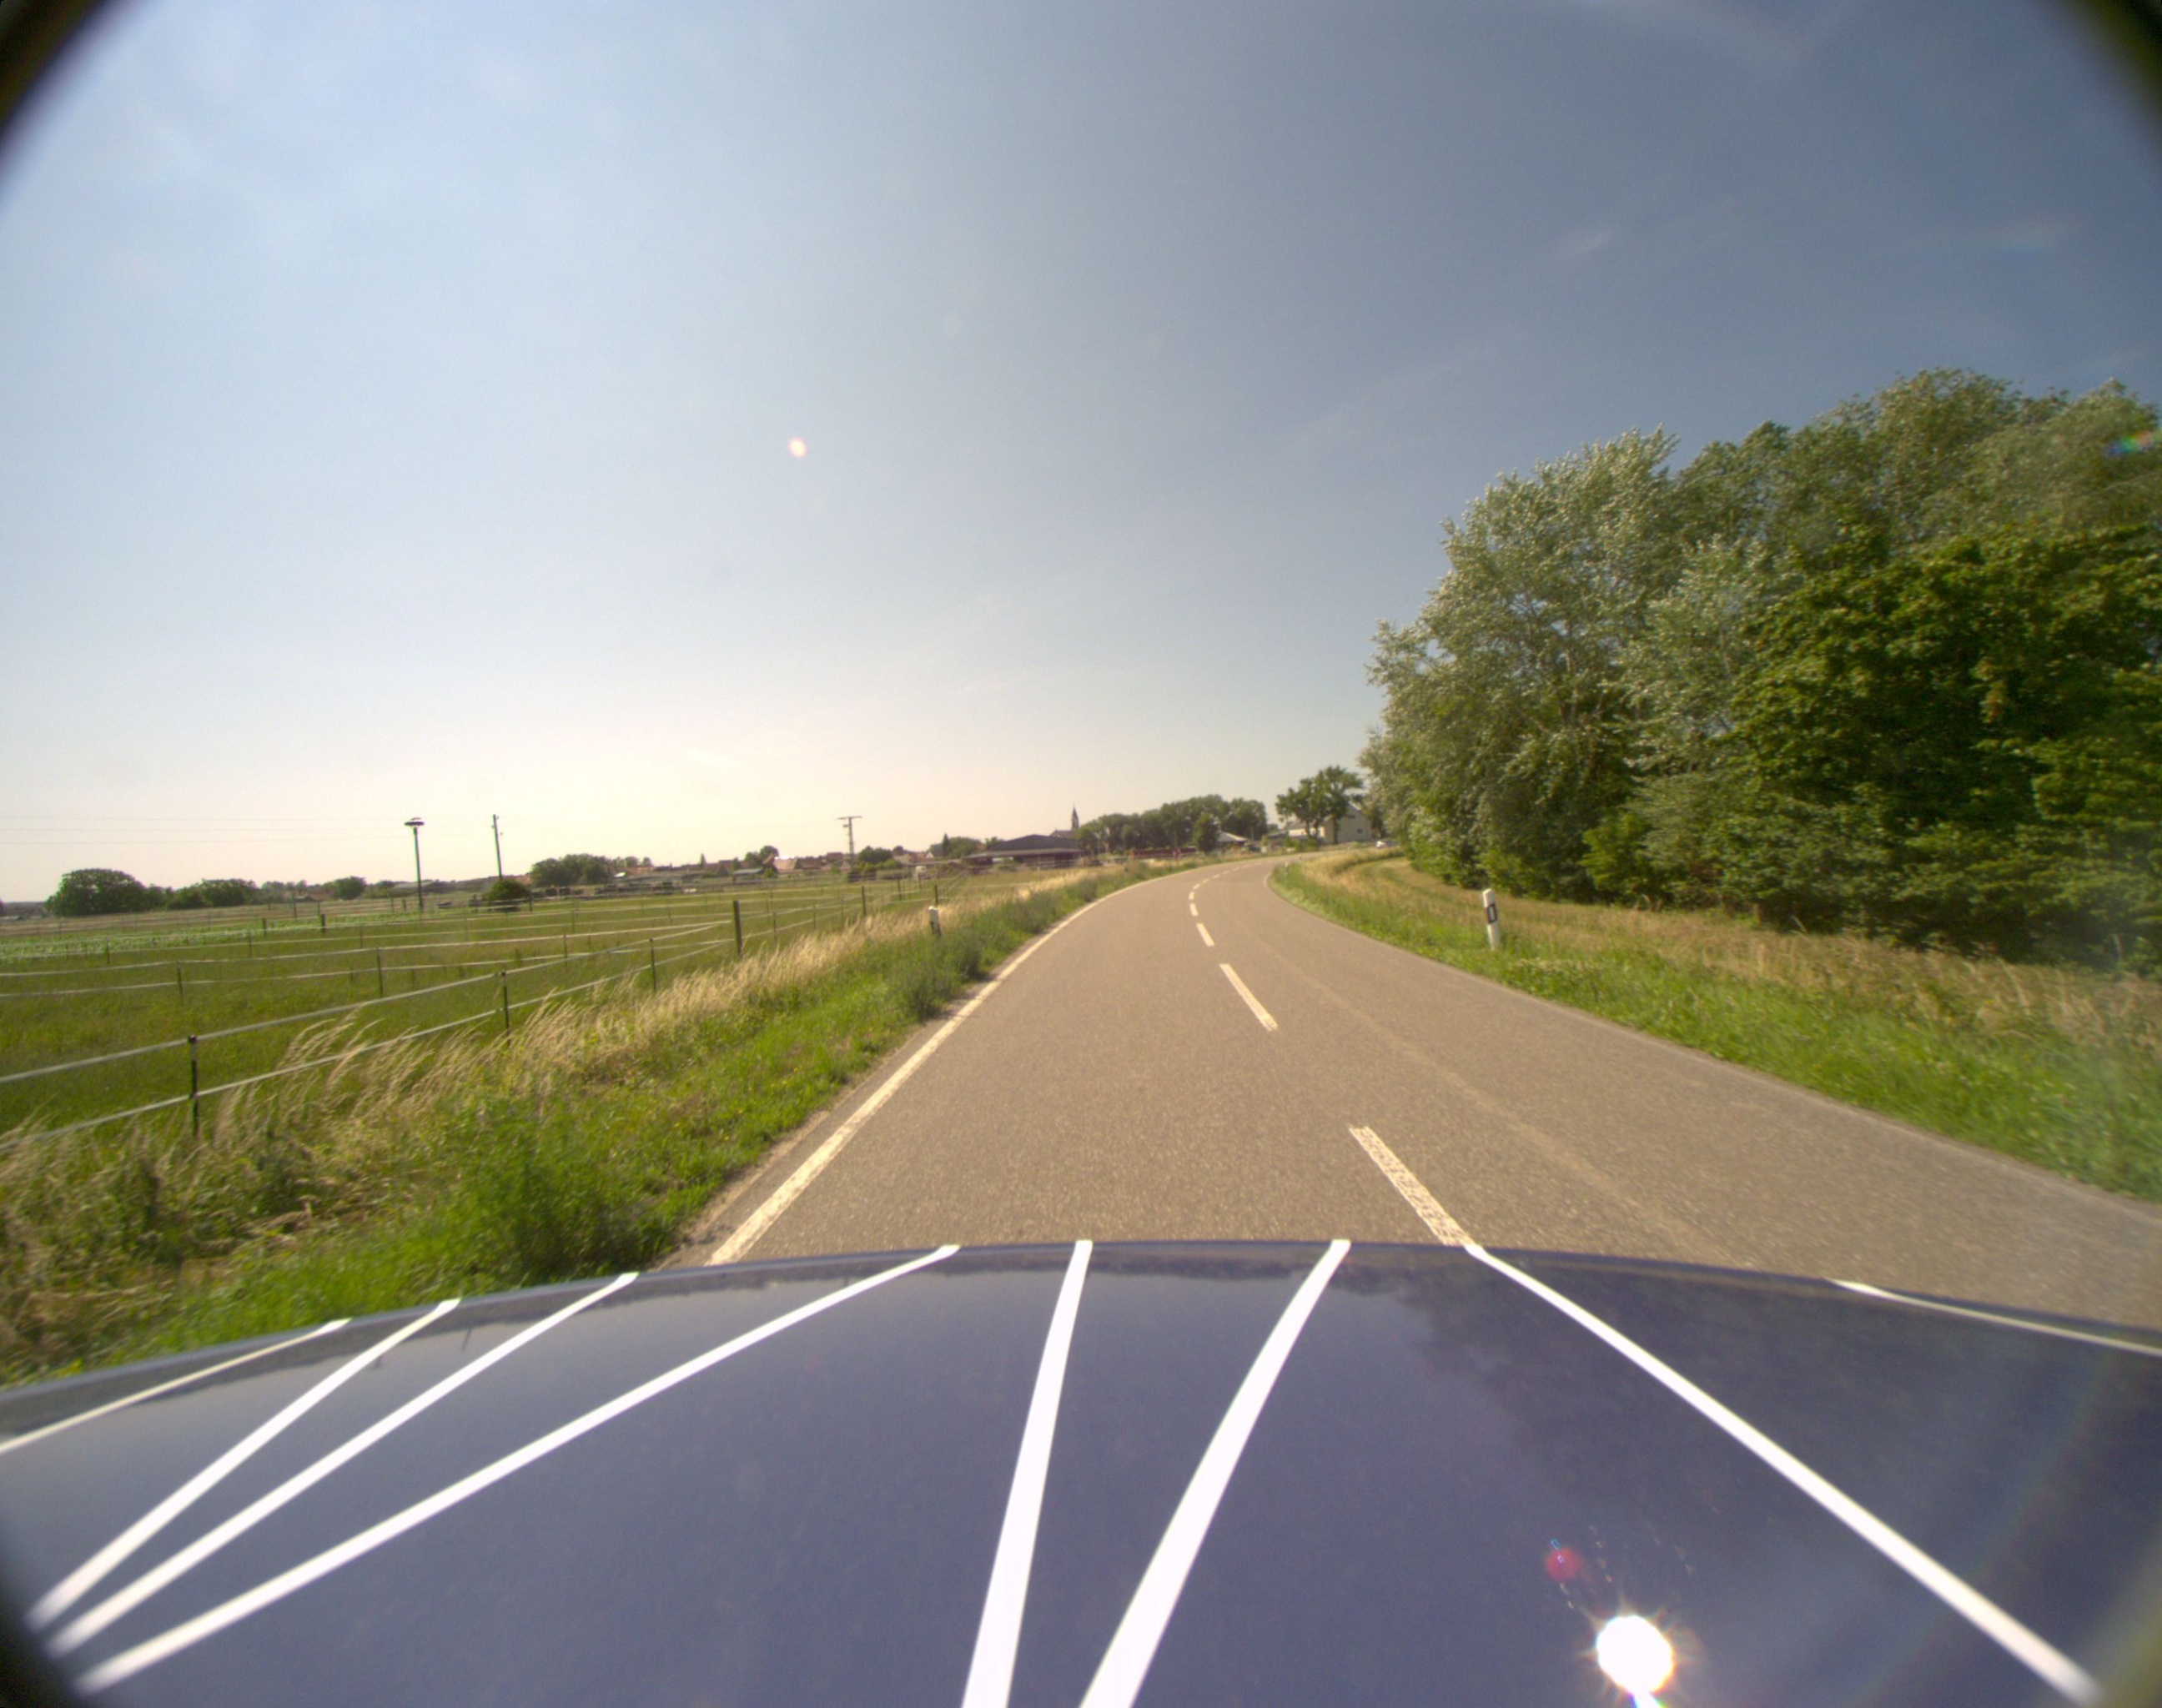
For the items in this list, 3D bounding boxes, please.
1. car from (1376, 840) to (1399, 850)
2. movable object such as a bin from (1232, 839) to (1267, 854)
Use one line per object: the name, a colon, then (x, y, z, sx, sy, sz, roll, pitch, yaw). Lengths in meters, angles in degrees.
car: (45.218, -1.371, 112.088, 1.784, 1.419, 4.068, 2, 2, 43)
movable object such as a bin: (35.543, -1.637, 160.260, 6.509, 2.753, 3.008, -4, -1, -20)
